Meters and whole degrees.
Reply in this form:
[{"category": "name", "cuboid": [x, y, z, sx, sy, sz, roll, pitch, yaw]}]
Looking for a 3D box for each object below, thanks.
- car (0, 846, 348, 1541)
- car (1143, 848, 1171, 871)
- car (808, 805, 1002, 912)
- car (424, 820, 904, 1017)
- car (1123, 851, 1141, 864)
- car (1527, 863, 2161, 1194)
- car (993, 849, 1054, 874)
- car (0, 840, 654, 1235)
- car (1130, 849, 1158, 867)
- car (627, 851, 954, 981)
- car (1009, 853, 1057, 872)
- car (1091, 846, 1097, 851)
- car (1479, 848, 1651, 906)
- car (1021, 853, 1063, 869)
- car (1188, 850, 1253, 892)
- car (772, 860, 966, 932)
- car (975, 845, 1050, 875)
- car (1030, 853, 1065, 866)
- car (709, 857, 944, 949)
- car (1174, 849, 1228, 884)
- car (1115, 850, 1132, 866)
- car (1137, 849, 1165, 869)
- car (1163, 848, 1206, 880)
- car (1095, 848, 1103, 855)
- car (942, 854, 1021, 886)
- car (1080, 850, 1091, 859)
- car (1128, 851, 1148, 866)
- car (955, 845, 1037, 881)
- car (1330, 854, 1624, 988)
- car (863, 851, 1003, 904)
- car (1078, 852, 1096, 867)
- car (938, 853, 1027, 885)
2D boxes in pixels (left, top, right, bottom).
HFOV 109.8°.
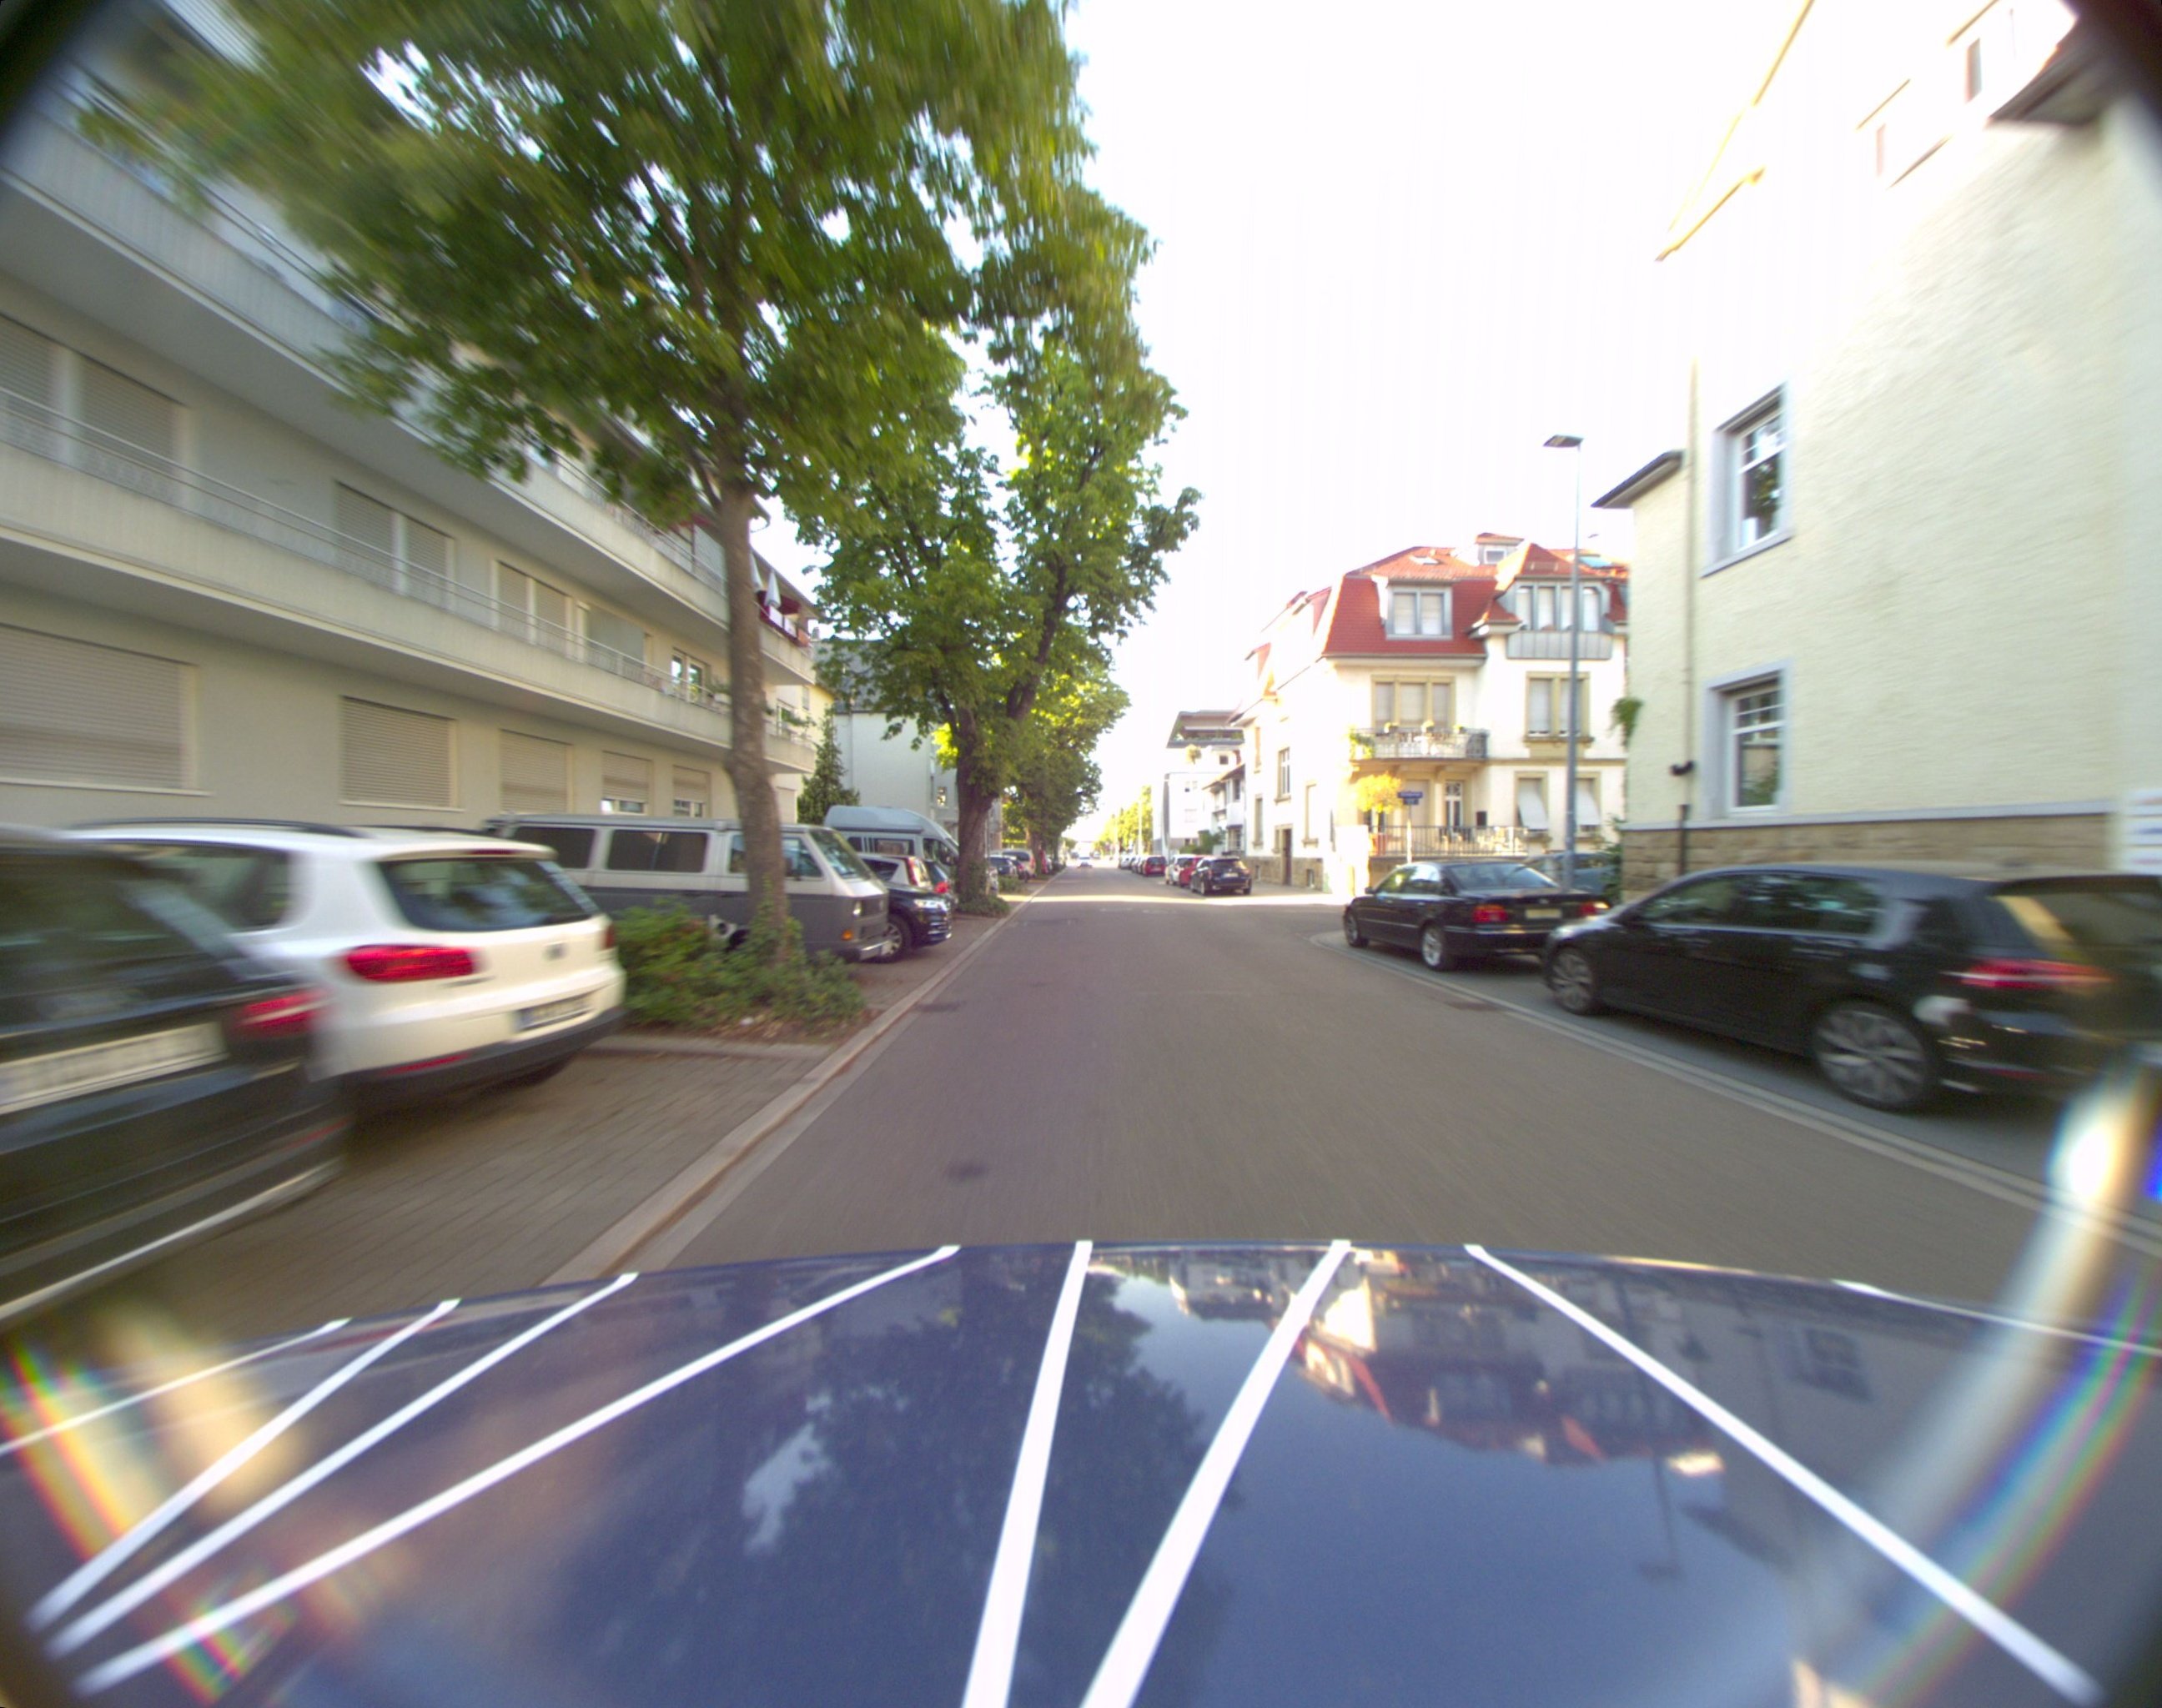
[{"category": "car", "cuboid": [-4.778, 0.788, 1.777, 4.343, 1.673, 1.705, 1, 0, -3]}, {"category": "car", "cuboid": [5.337, 0.368, 53.791, 1.654, 1.474, 3.429, -2, 0, 2]}, {"category": "car", "cuboid": [-4.911, 0.122, 21.858, 5.109, 2.885, 2.075, 1, 1, -2]}, {"category": "car", "cuboid": [-4.518, 0.653, 8.824, 4.481, 2.002, 1.895, 0, 1, -2]}, {"category": "car", "cuboid": [5.474, 0.384, 82.151, 1.723, 1.386, 3.907, -2, 0, 1]}, {"category": "car", "cuboid": [5.349, 0.824, 5.570, 1.658, 1.407, 4.167, -1, 0, -1]}, {"category": "car", "cuboid": [-4.100, 0.538, 54.601, 4.207, 1.695, 1.792, 0, 0, 4]}, {"category": "car", "cuboid": [-4.852, 0.786, 4.256, 3.958, 1.673, 1.706, 1, 0, 3]}, {"category": "car", "cuboid": [5.400, 0.345, 65.526, 1.743, 1.451, 4.563, -2, 0, -3]}, {"category": "car", "cuboid": [-4.043, 0.823, 11.226, 4.189, 1.714, 1.764, 0, 1, -7]}, {"category": "car", "cuboid": [-3.843, 0.641, 61.157, 3.680, 1.488, 1.676, 0, 0, 0]}, {"category": "car", "cuboid": [3.930, -1.720, 232.541, 1.913, 1.679, 4.198, -2, 0, 1]}, {"category": "car", "cuboid": [13.589, 0.629, 21.450, 3.773, 1.550, 1.761, 0, -1, -4]}, {"category": "car", "cuboid": [-3.505, 0.651, 68.646, 3.680, 1.434, 1.601, 0, 0, 0]}, {"category": "car", "cuboid": [5.289, 0.604, 29.384, 1.657, 1.446, 4.630, -1, 0, 0]}, {"category": "car", "cuboid": [-4.484, 0.870, 16.509, 3.730, 1.422, 1.758, 0, 2, -1]}, {"category": "car", "cuboid": [-4.577, 0.409, 51.294, 4.819, 1.925, 1.950, 0, 0, 1]}, {"category": "car", "cuboid": [-3.727, 0.587, 84.507, 3.828, 1.477, 1.600, 0, 0, -7]}, {"category": "car", "cuboid": [-4.545, 0.842, 13.926, 3.729, 1.545, 1.639, 0, 1, 1]}, {"category": "car", "cuboid": [5.421, 0.547, 34.730, 1.586, 1.468, 3.705, -2, 0, -4]}, {"category": "car", "cuboid": [5.241, 0.505, 94.341, 1.913, 1.937, 4.198, -2, 0, 1]}, {"category": "car", "cuboid": [5.440, 0.368, 59.431, 1.742, 1.451, 4.378, -2, 0, 0]}, {"category": "car", "cuboid": [5.279, 0.470, 39.039, 1.585, 1.511, 3.705, -1, 0, -1]}, {"category": "car", "cuboid": [4.366, -0.709, 187.546, 1.913, 1.679, 4.198, -2, 0, 1]}, {"category": "car", "cuboid": [-4.635, 0.746, 35.721, 3.411, 1.419, 1.758, 1, 0, 0]}, {"category": "car", "cuboid": [0.873, 0.089, 137.523, 1.913, 1.679, 4.198, -2, 0, 1]}, {"category": "car", "cuboid": [5.722, 0.420, 76.811, 1.723, 1.386, 3.907, -2, 0, 1]}, {"category": "car", "cuboid": [-4.555, 0.484, 41.126, 4.313, 1.874, 1.758, 0, 1, -3]}, {"category": "car", "cuboid": [5.266, 0.761, 10.951, 1.714, 1.461, 4.632, -1, 0, -2]}, {"category": "car", "cuboid": [-4.736, 0.724, 24.753, 4.200, 1.559, 1.758, 1, 1, -1]}, {"category": "car", "cuboid": [0.794, 0.682, 91.539, 2.098, 1.700, 4.606, -1, 1, 1]}, {"category": "car", "cuboid": [-4.908, 0.742, 38.384, 4.313, 1.532, 1.758, 0, 0, -3]}]
